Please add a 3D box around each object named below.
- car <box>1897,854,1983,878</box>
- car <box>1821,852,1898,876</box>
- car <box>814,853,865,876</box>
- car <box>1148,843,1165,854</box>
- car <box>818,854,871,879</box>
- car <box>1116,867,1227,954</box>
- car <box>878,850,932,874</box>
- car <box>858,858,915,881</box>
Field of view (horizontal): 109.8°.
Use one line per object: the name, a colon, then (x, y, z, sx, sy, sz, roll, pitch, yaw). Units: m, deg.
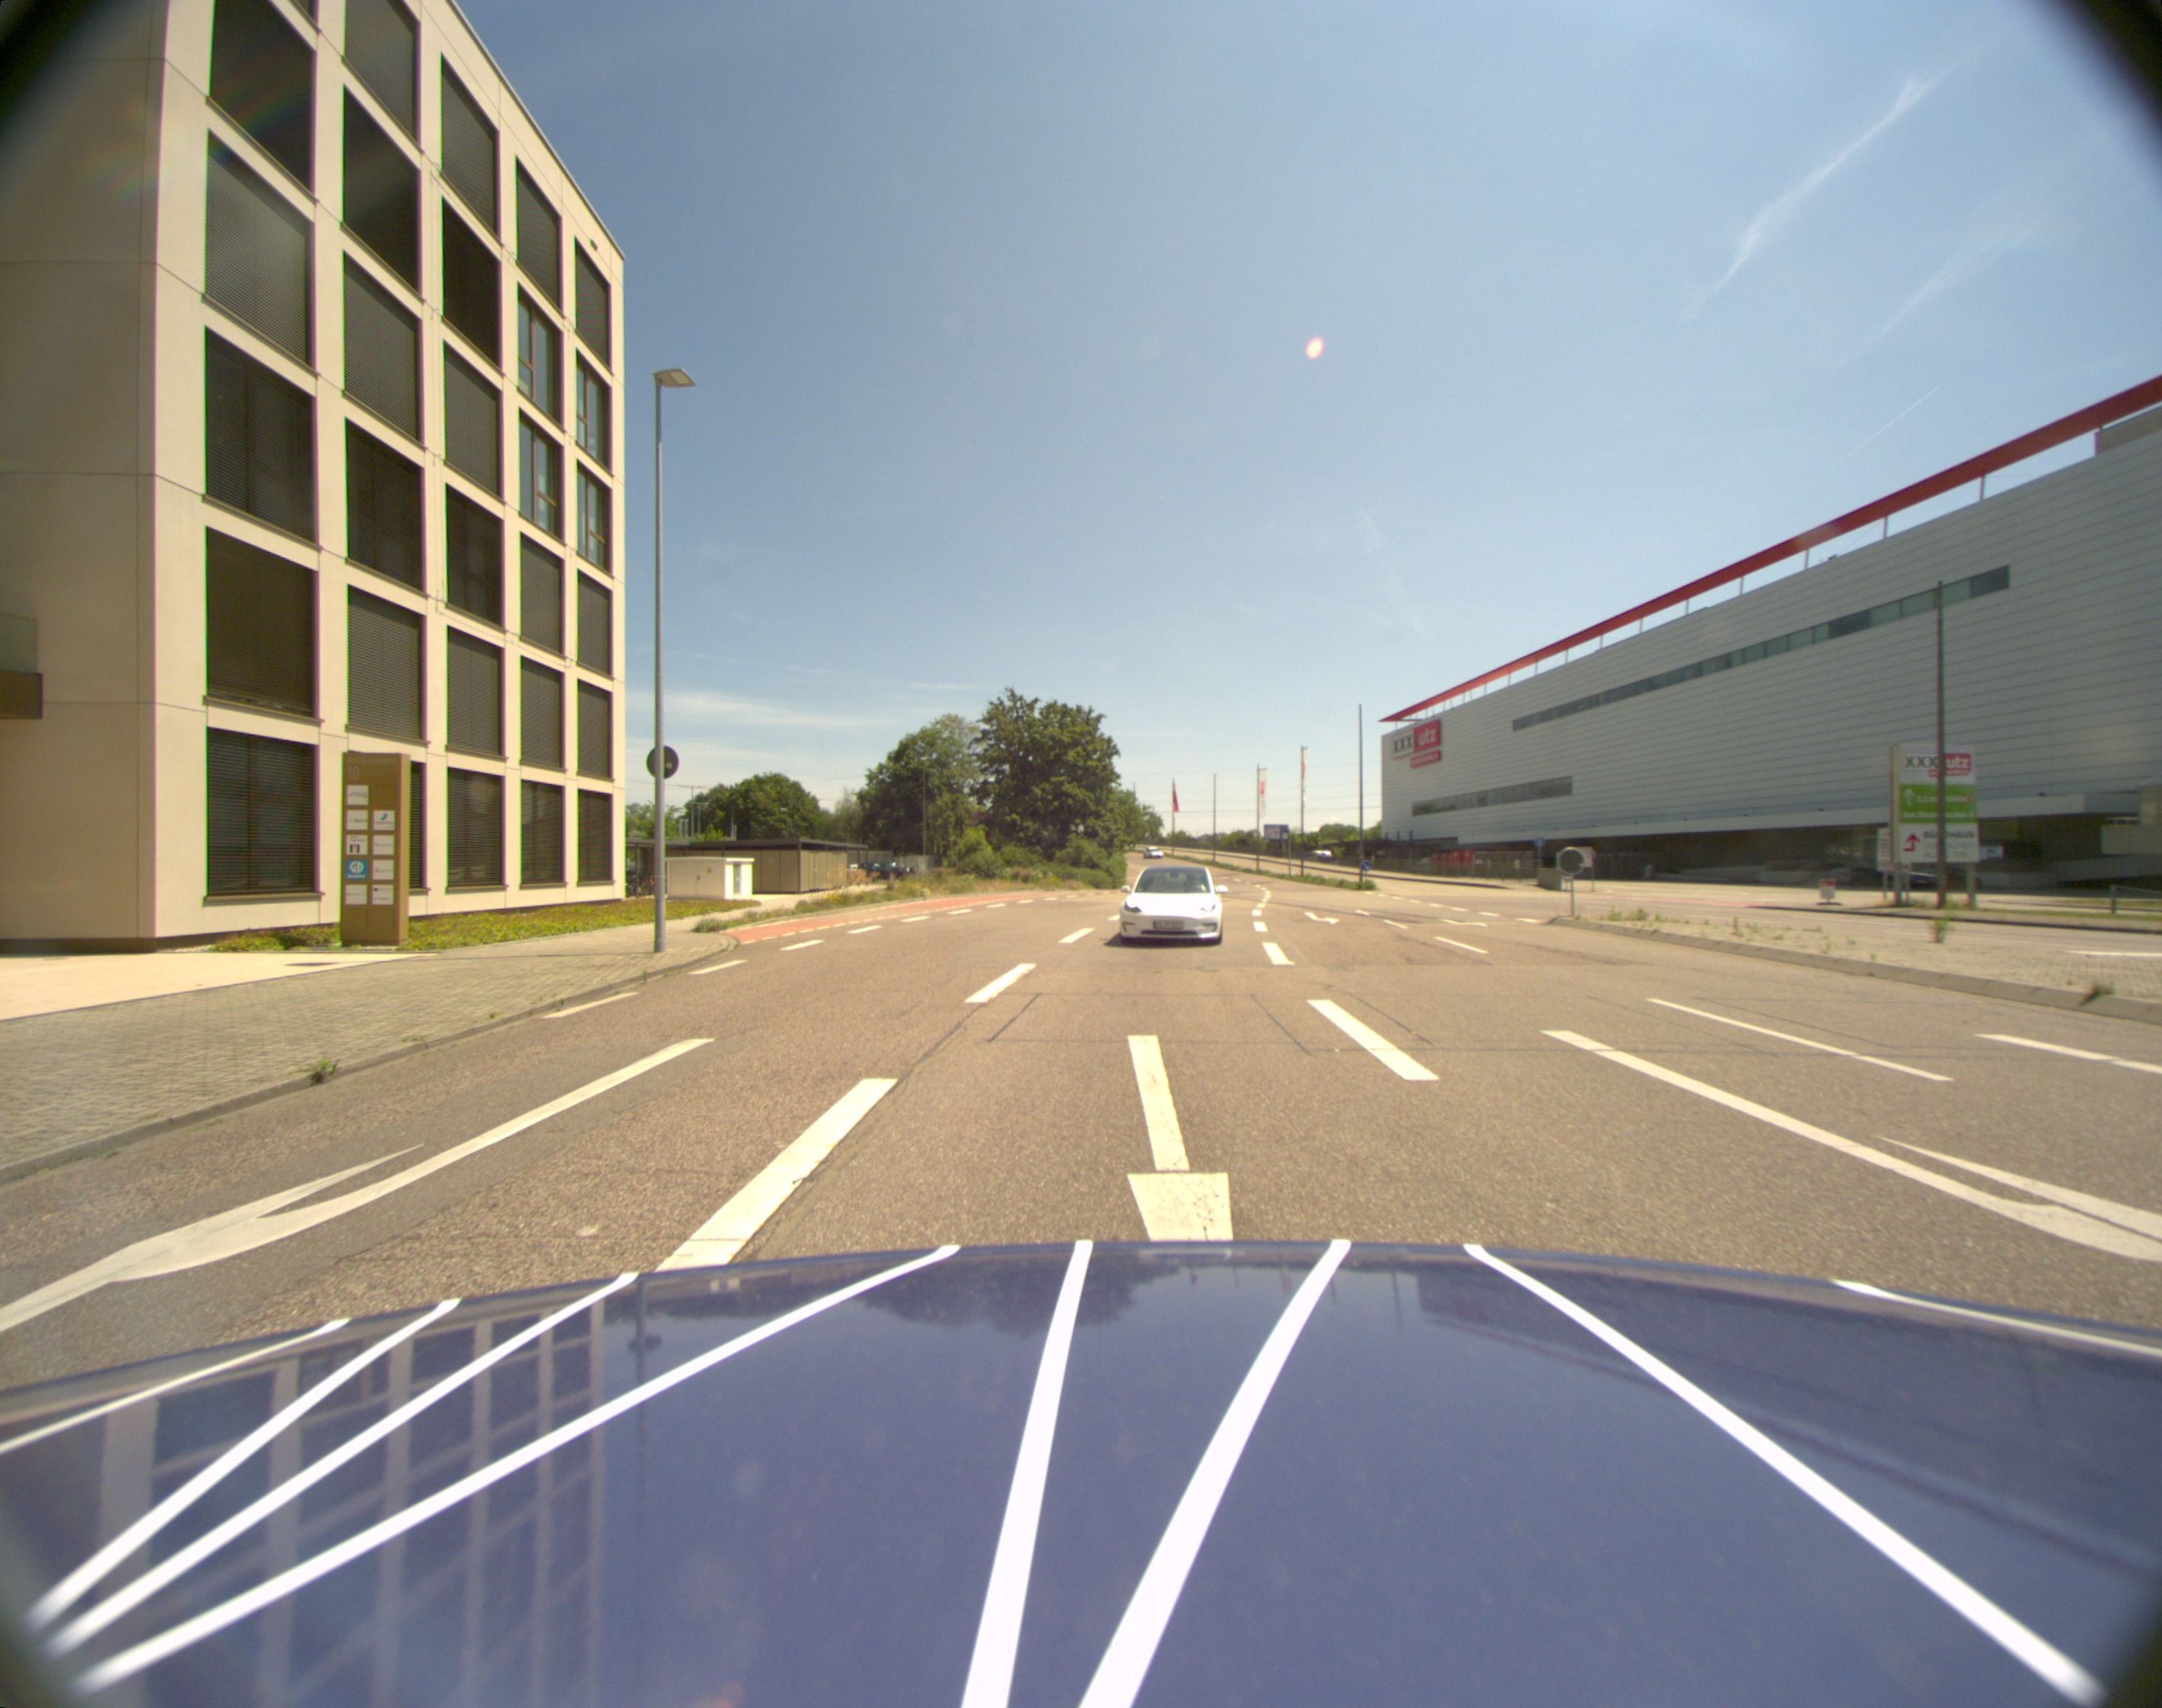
car: (56.345, 0.771, 49.883, 3.484, 1.486, 1.959, 0, 0, -3)
car: (56.005, 0.703, 54.674, 3.748, 1.610, 1.911, 0, 0, -4)
car: (-21.234, 0.916, 66.800, 4.006, 2.002, 1.995, 0, 0, -29)
car: (10.899, -0.805, 109.854, 1.735, 1.441, 4.229, -3, 0, -5)
car: (-20.029, 1.034, 64.324, 4.006, 2.002, 1.995, 0, 0, -29)
car: (1.766, 0.999, 15.216, 1.879, 1.417, 4.408, 0, 0, 6)
car: (-14.743, 0.652, 63.634, 4.006, 1.941, 1.995, 0, 0, -29)
car: (-15.242, 1.193, 59.563, 4.006, 1.652, 1.834, 0, 0, -28)
